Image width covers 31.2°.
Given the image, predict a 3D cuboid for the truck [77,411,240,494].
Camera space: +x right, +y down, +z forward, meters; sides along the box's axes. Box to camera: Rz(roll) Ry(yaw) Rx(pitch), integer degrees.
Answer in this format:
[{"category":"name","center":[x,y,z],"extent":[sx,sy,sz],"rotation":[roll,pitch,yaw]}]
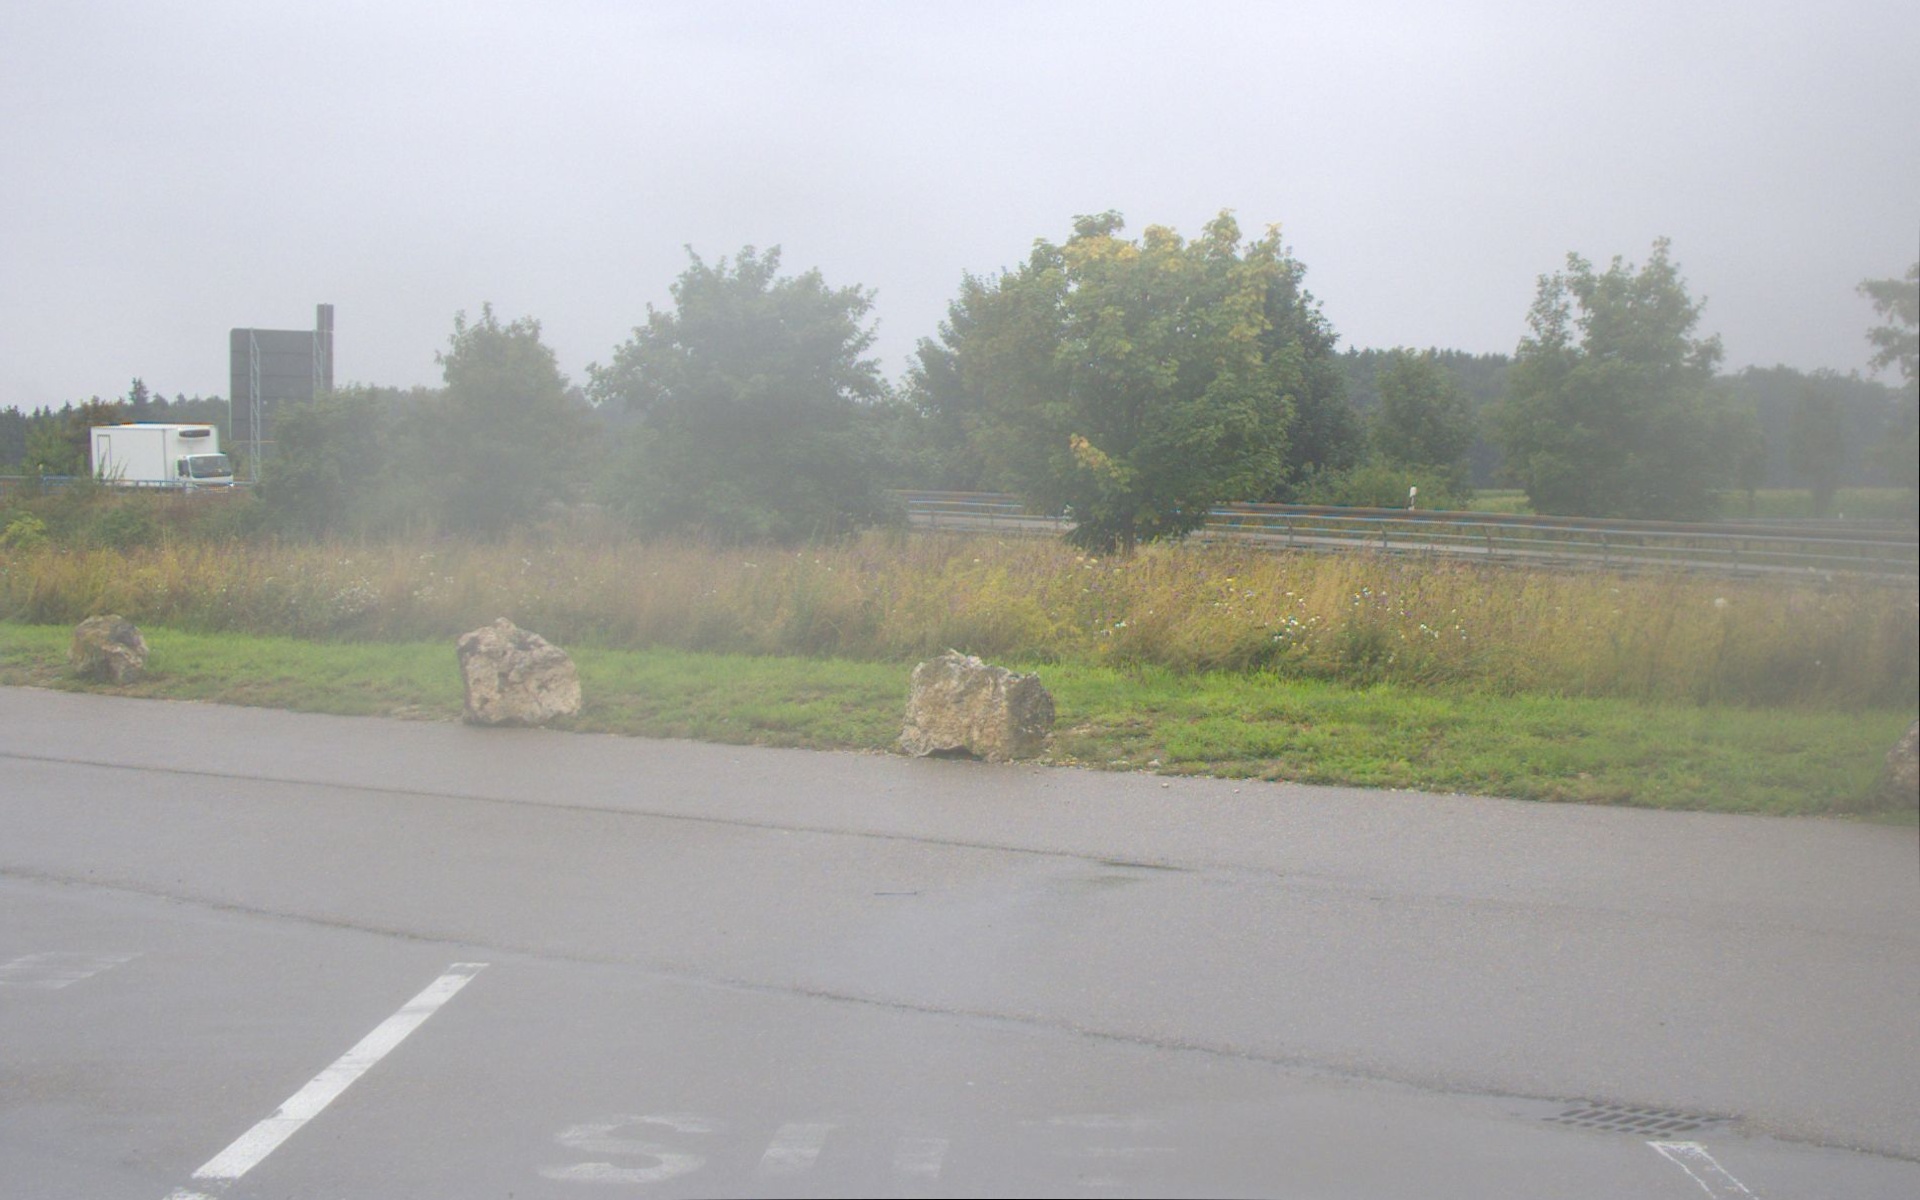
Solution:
[{"category":"truck","center":[-33.978,-6.212,145.498],"extent":[8.061,3.379,2.741],"rotation":[2,2,43]}]
